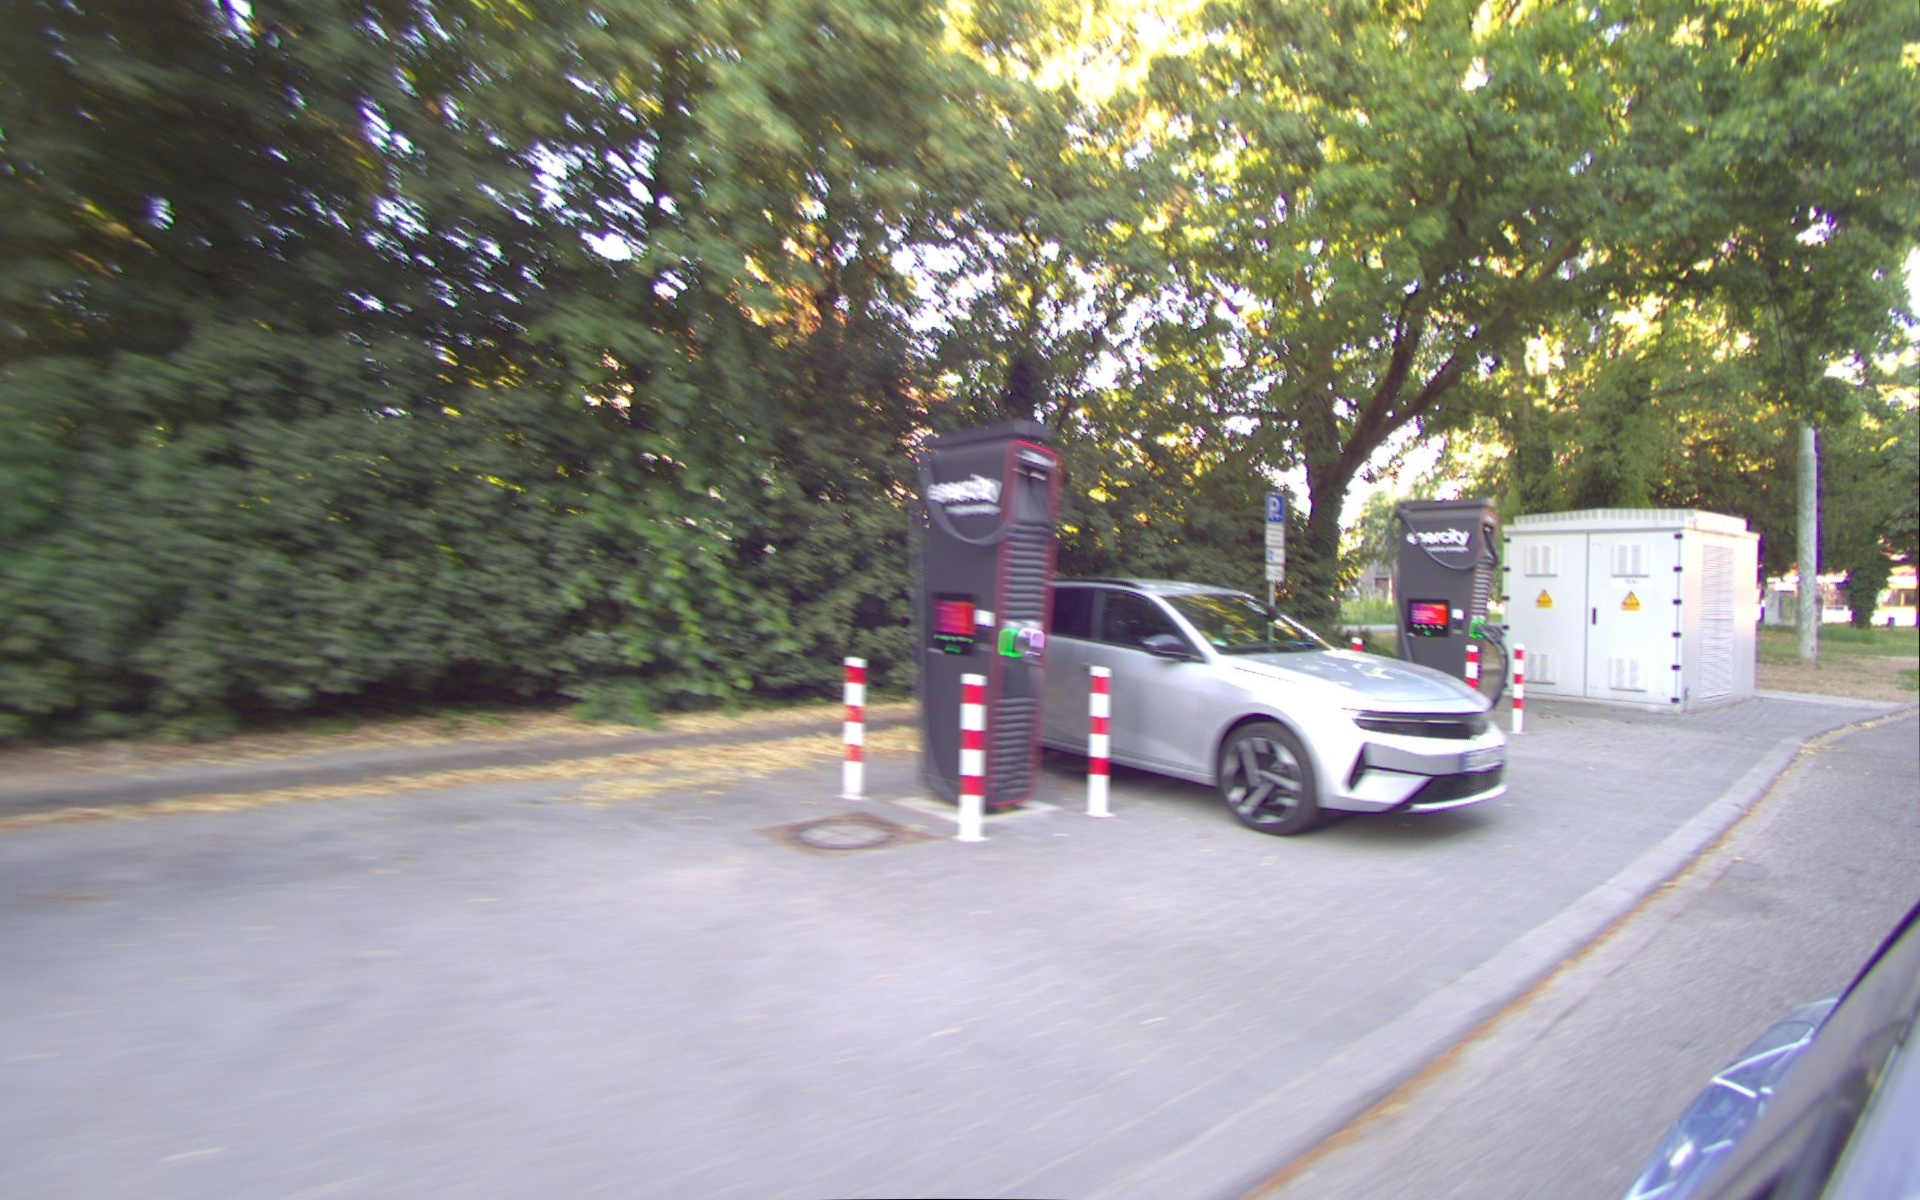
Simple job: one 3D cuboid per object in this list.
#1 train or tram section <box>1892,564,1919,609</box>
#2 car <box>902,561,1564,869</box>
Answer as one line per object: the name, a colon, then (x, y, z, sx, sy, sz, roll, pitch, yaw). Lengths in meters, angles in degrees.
train or tram section: (78.642, -0.912, 74.577, 3.061, 3.603, 17.489, 1, 1, -3)
car: (1.623, 0.522, 7.402, 1.751, 1.487, 4.451, 0, 2, -40)
